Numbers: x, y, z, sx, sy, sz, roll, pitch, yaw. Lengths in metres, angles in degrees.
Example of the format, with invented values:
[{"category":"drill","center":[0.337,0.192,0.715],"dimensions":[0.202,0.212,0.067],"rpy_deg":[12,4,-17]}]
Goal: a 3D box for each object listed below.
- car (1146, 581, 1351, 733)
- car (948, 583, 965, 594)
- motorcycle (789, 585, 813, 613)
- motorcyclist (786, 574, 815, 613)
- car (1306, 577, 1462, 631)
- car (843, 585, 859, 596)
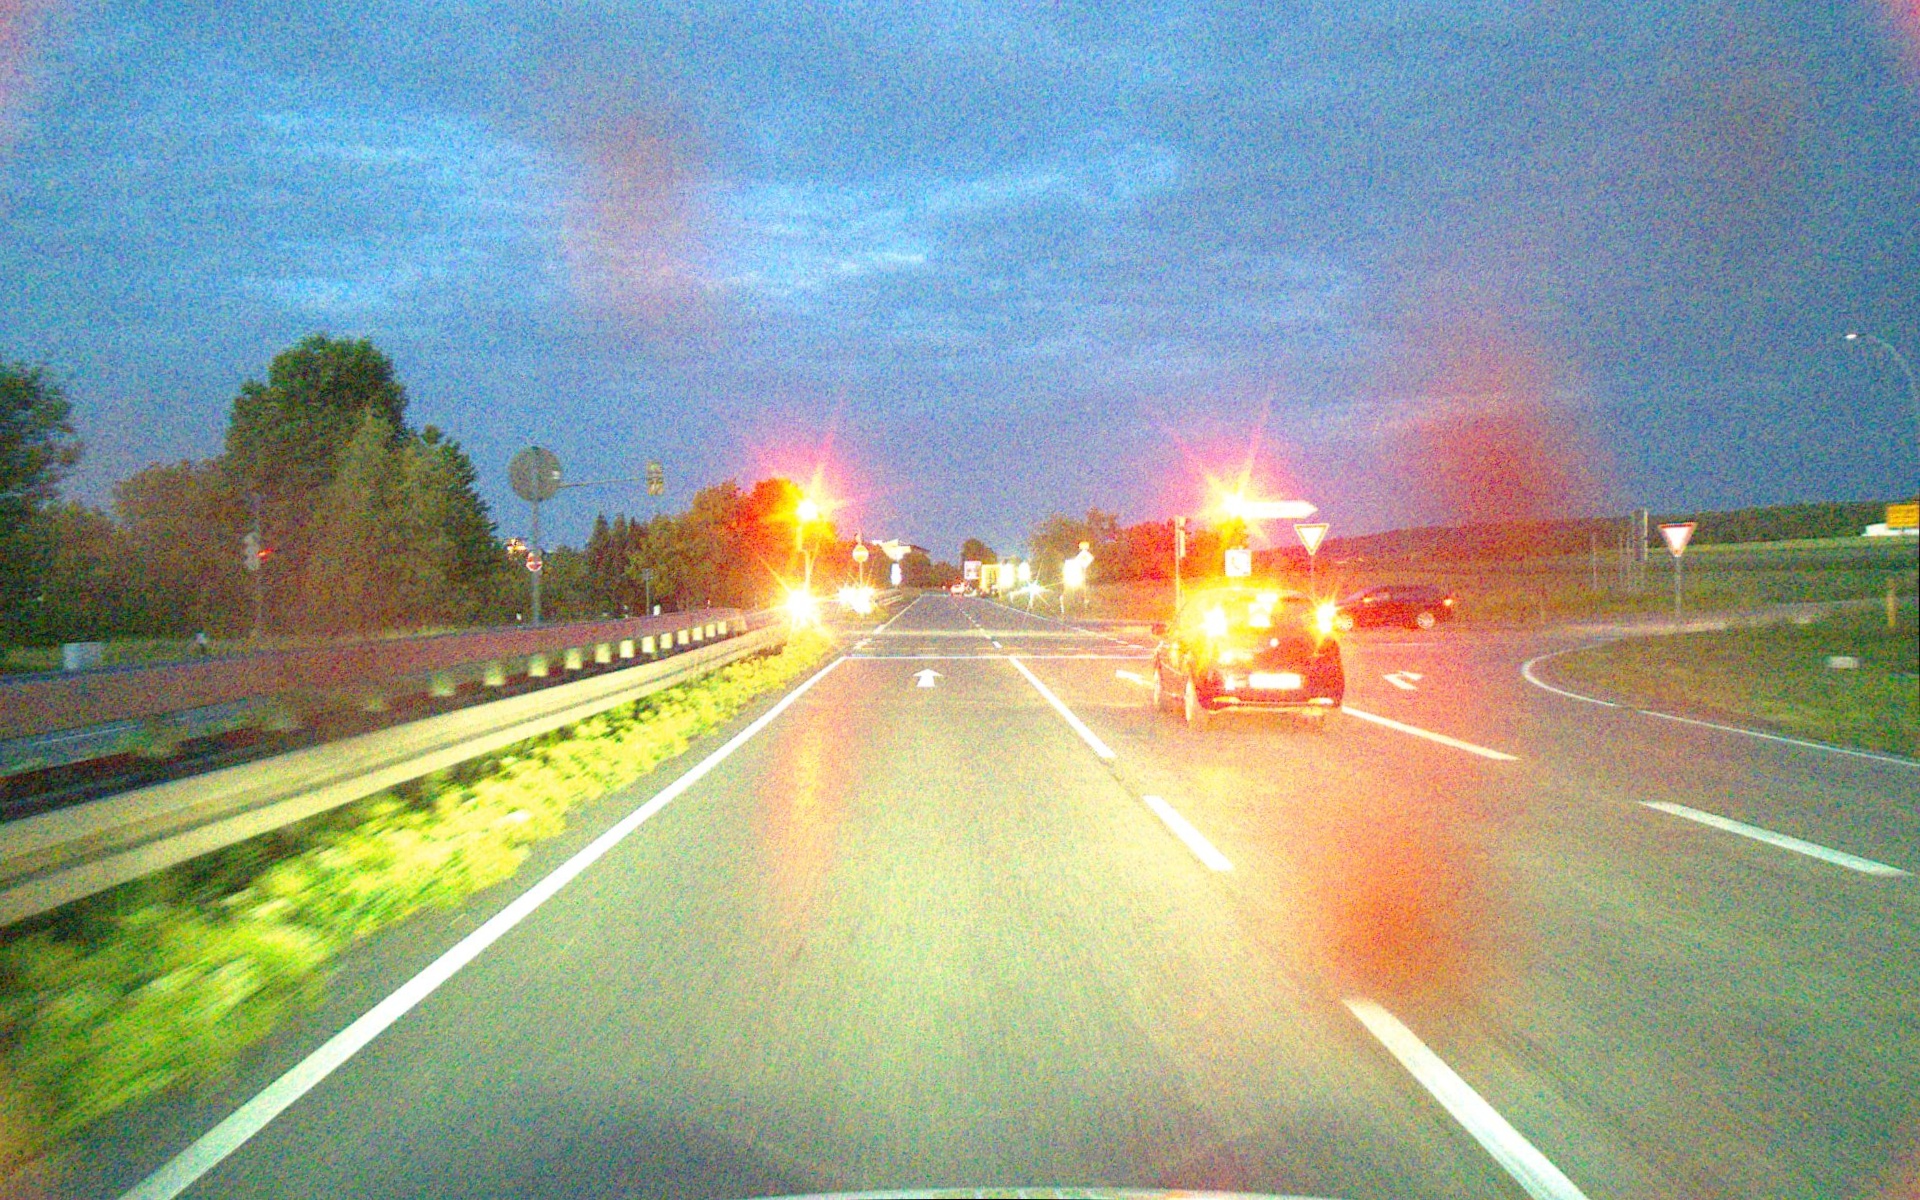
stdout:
[{"category":"car","center":[3.169,0.562,18.895],"dimensions":[1.636,1.547,4.106],"rpy_deg":[0,1,0]},{"category":"car","center":[-0.524,-1.684,242.929],"dimensions":[2.228,1.660,3.999],"rpy_deg":[-1,1,-2]},{"category":"motorcycle","center":[-6.670,-0.057,69.252],"dimensions":[0.960,1.117,2.505],"rpy_deg":[-2,1,-6]},{"category":"motorcyclist","center":[-6.669,-0.273,69.167],"dimensions":[1.115,1.612,0.971],"rpy_deg":[-2,1,-7]},{"category":"car","center":[13.713,0.121,53.679],"dimensions":[4.507,1.547,2.000],"rpy_deg":[-2,1,-1]},{"category":"car","center":[-15.402,-1.334,234.208],"dimensions":[1.953,1.545,4.297],"rpy_deg":[-1,1,-1]}]
